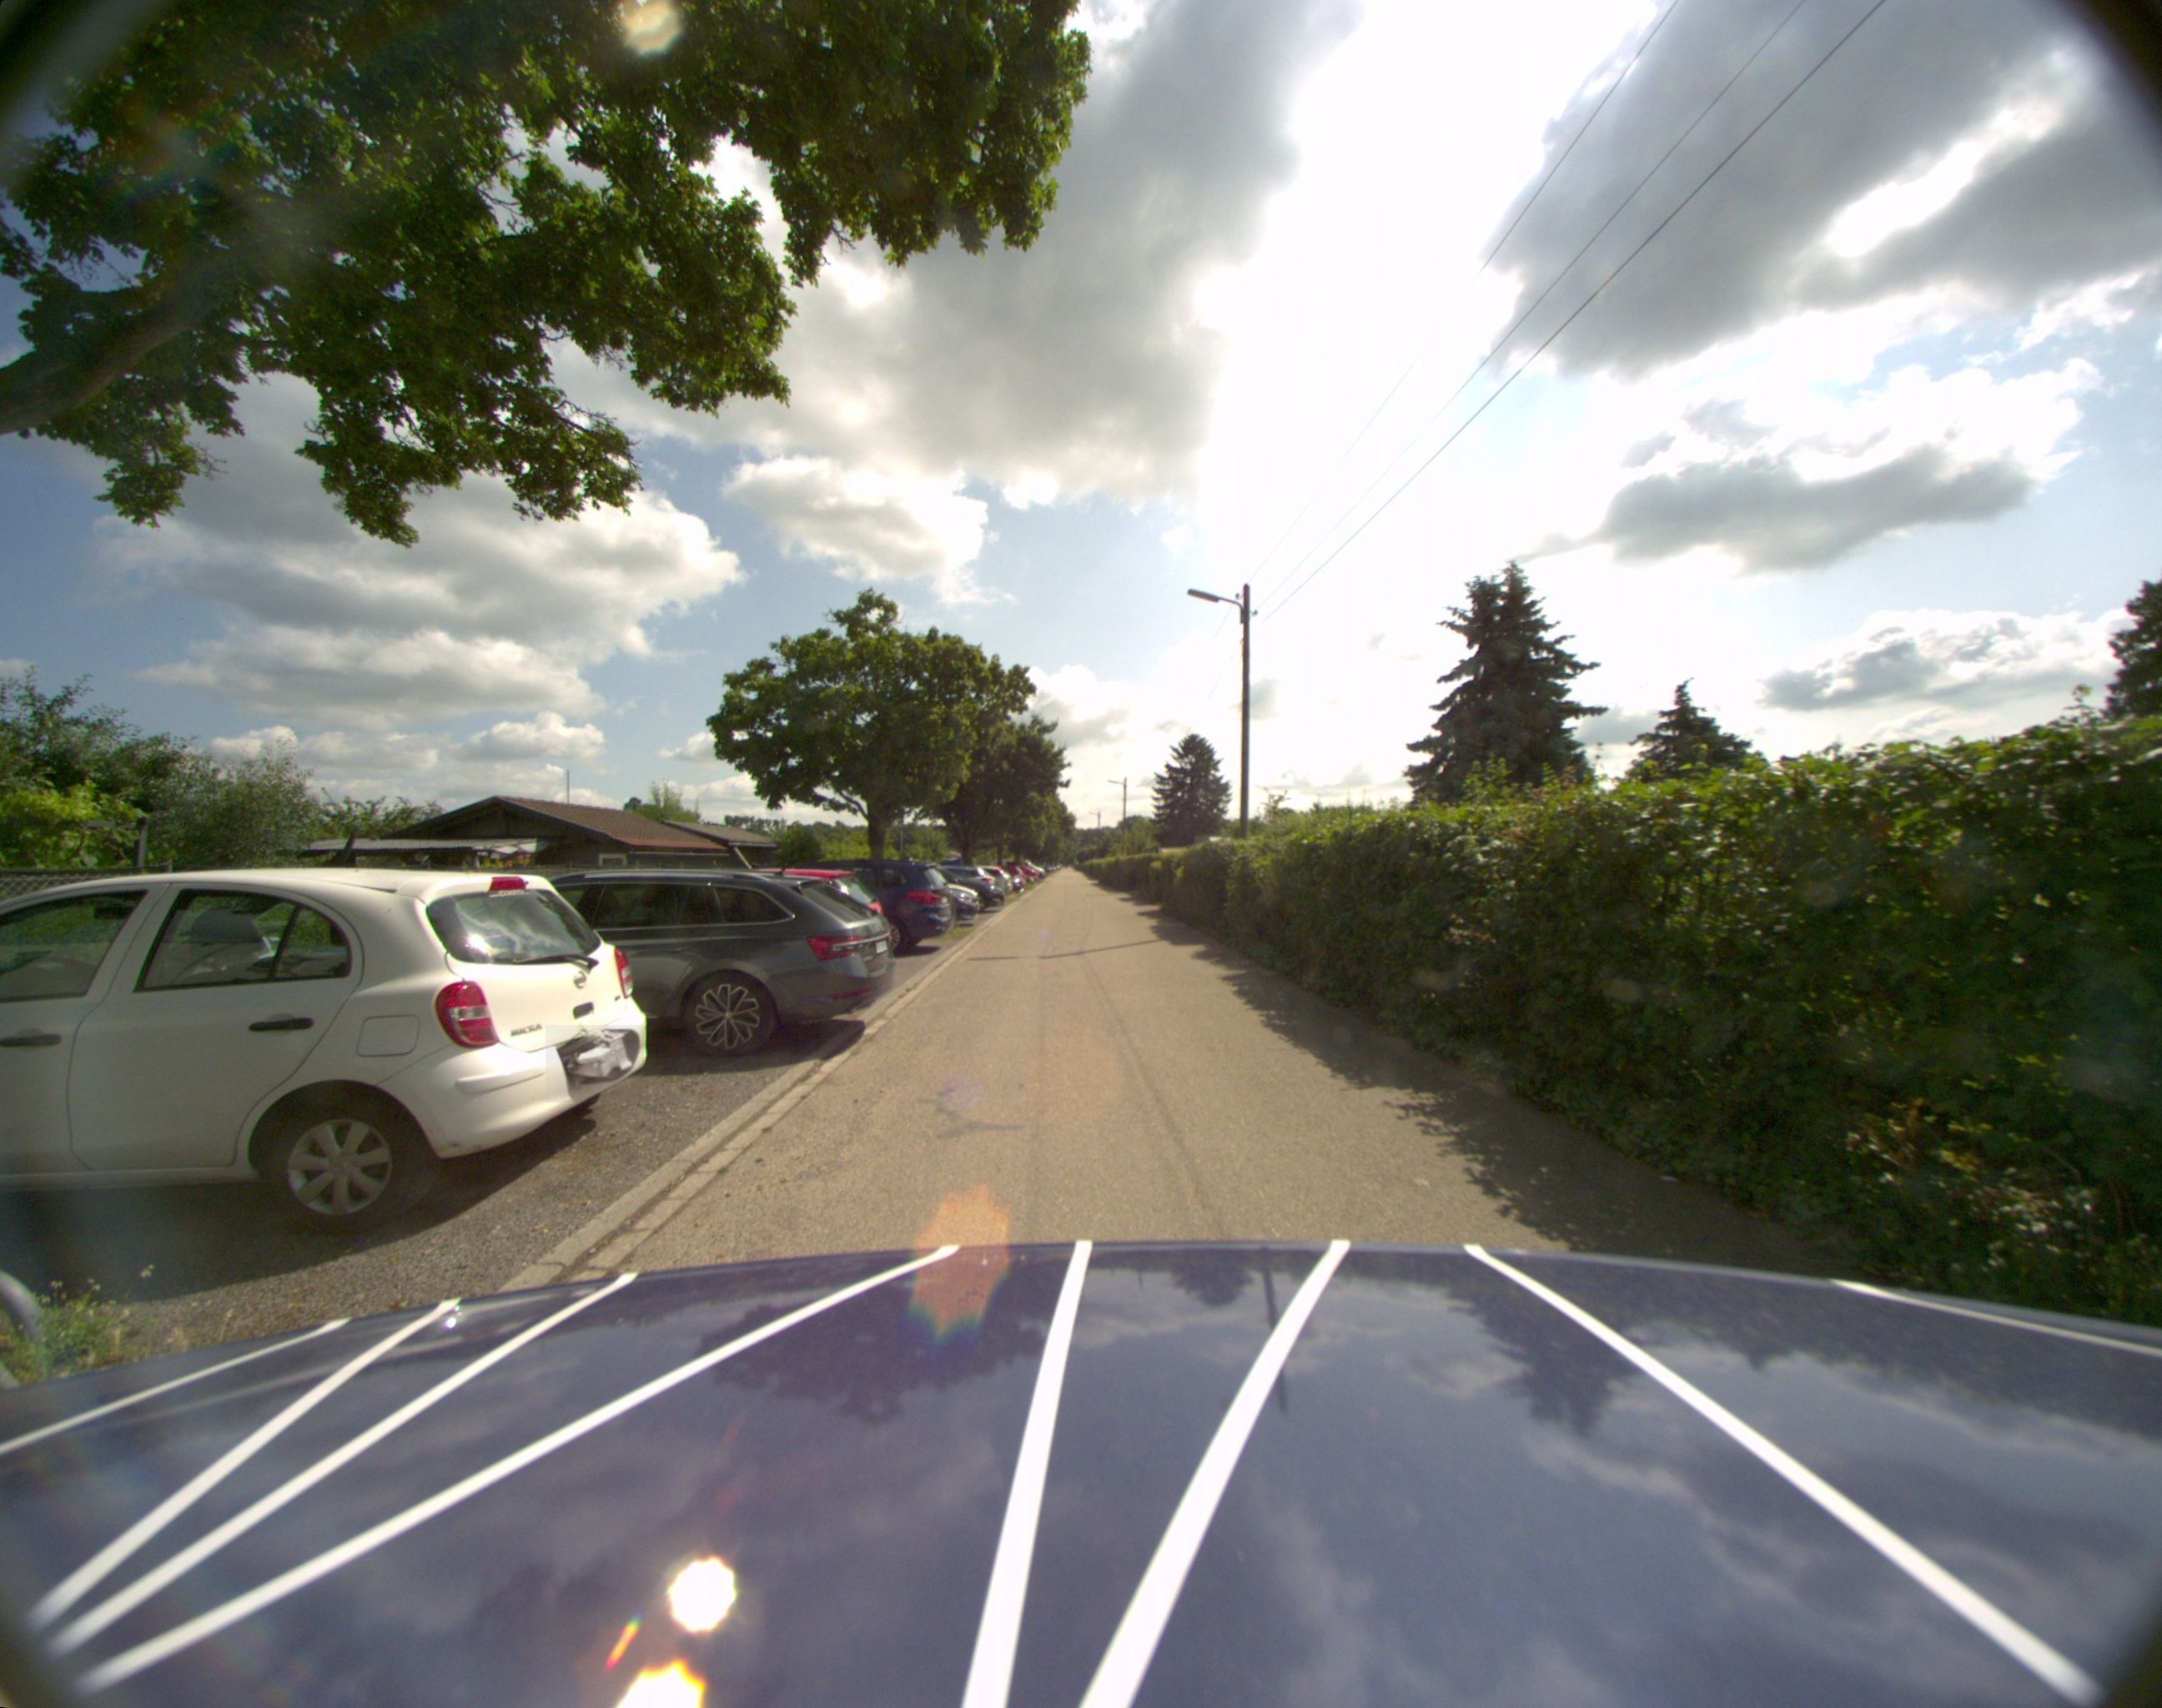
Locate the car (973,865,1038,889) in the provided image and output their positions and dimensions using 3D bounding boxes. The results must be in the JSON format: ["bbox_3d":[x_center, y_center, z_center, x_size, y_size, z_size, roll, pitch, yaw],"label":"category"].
[{"bbox_3d":[-5.119,1.552,51.495,4.251,1.420,1.907,-2,0,-5],"label":"car"}]

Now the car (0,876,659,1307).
[{"bbox_3d":[-4.358,0.967,3.712,3.584,1.540,1.666,-2,0,-4],"label":"car"}]

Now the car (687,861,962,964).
[{"bbox_3d":[-4.336,0.965,13.340,4.165,1.628,1.879,0,0,0],"label":"car"}]

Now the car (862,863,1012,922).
[{"bbox_3d":[-4.429,1.164,23.931,4.313,1.584,2.000,-2,0,-2],"label":"car"}]

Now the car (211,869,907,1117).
[{"bbox_3d":[-3.970,1.016,6.512,4.562,1.569,1.808,-2,0,-5],"label":"car"}]

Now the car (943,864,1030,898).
[{"bbox_3d":[-4.565,1.301,37.154,4.077,1.447,1.869,-2,0,-3],"label":"car"}]

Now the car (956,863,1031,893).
[{"bbox_3d":[-5.011,1.381,43.847,3.996,1.511,1.854,-2,0,2],"label":"car"}]

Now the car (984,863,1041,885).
[{"bbox_3d":[-5.259,1.536,58.715,4.194,1.495,1.878,-2,0,0],"label":"car"}]

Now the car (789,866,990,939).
[{"bbox_3d":[-4.502,1.126,18.424,4.347,1.483,1.975,-2,0,-2],"label":"car"}]

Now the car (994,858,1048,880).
[{"bbox_3d":[-5.172,1.291,66.367,4.647,1.875,2.111,0,0,-3],"label":"car"}]

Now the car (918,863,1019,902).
[{"bbox_3d":[-4.930,1.242,33.679,4.074,1.502,1.958,-2,0,2],"label":"car"}]

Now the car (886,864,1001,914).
[{"bbox_3d":[-4.731,1.198,26.571,3.734,1.531,1.849,-2,0,-4],"label":"car"}]

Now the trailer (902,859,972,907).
[{"bbox_3d":[-5.535,1.124,29.439,2.457,1.710,1.518,-2,-1,-5],"label":"trailer"}]

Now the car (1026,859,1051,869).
[{"bbox_3d":[-6.989,1.628,124.757,4.116,1.573,1.781,-1,0,-3],"label":"car"}]

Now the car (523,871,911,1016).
[{"bbox_3d":[-4.170,0.997,9.195,3.819,1.523,1.762,0,0,-1],"label":"car"}]
